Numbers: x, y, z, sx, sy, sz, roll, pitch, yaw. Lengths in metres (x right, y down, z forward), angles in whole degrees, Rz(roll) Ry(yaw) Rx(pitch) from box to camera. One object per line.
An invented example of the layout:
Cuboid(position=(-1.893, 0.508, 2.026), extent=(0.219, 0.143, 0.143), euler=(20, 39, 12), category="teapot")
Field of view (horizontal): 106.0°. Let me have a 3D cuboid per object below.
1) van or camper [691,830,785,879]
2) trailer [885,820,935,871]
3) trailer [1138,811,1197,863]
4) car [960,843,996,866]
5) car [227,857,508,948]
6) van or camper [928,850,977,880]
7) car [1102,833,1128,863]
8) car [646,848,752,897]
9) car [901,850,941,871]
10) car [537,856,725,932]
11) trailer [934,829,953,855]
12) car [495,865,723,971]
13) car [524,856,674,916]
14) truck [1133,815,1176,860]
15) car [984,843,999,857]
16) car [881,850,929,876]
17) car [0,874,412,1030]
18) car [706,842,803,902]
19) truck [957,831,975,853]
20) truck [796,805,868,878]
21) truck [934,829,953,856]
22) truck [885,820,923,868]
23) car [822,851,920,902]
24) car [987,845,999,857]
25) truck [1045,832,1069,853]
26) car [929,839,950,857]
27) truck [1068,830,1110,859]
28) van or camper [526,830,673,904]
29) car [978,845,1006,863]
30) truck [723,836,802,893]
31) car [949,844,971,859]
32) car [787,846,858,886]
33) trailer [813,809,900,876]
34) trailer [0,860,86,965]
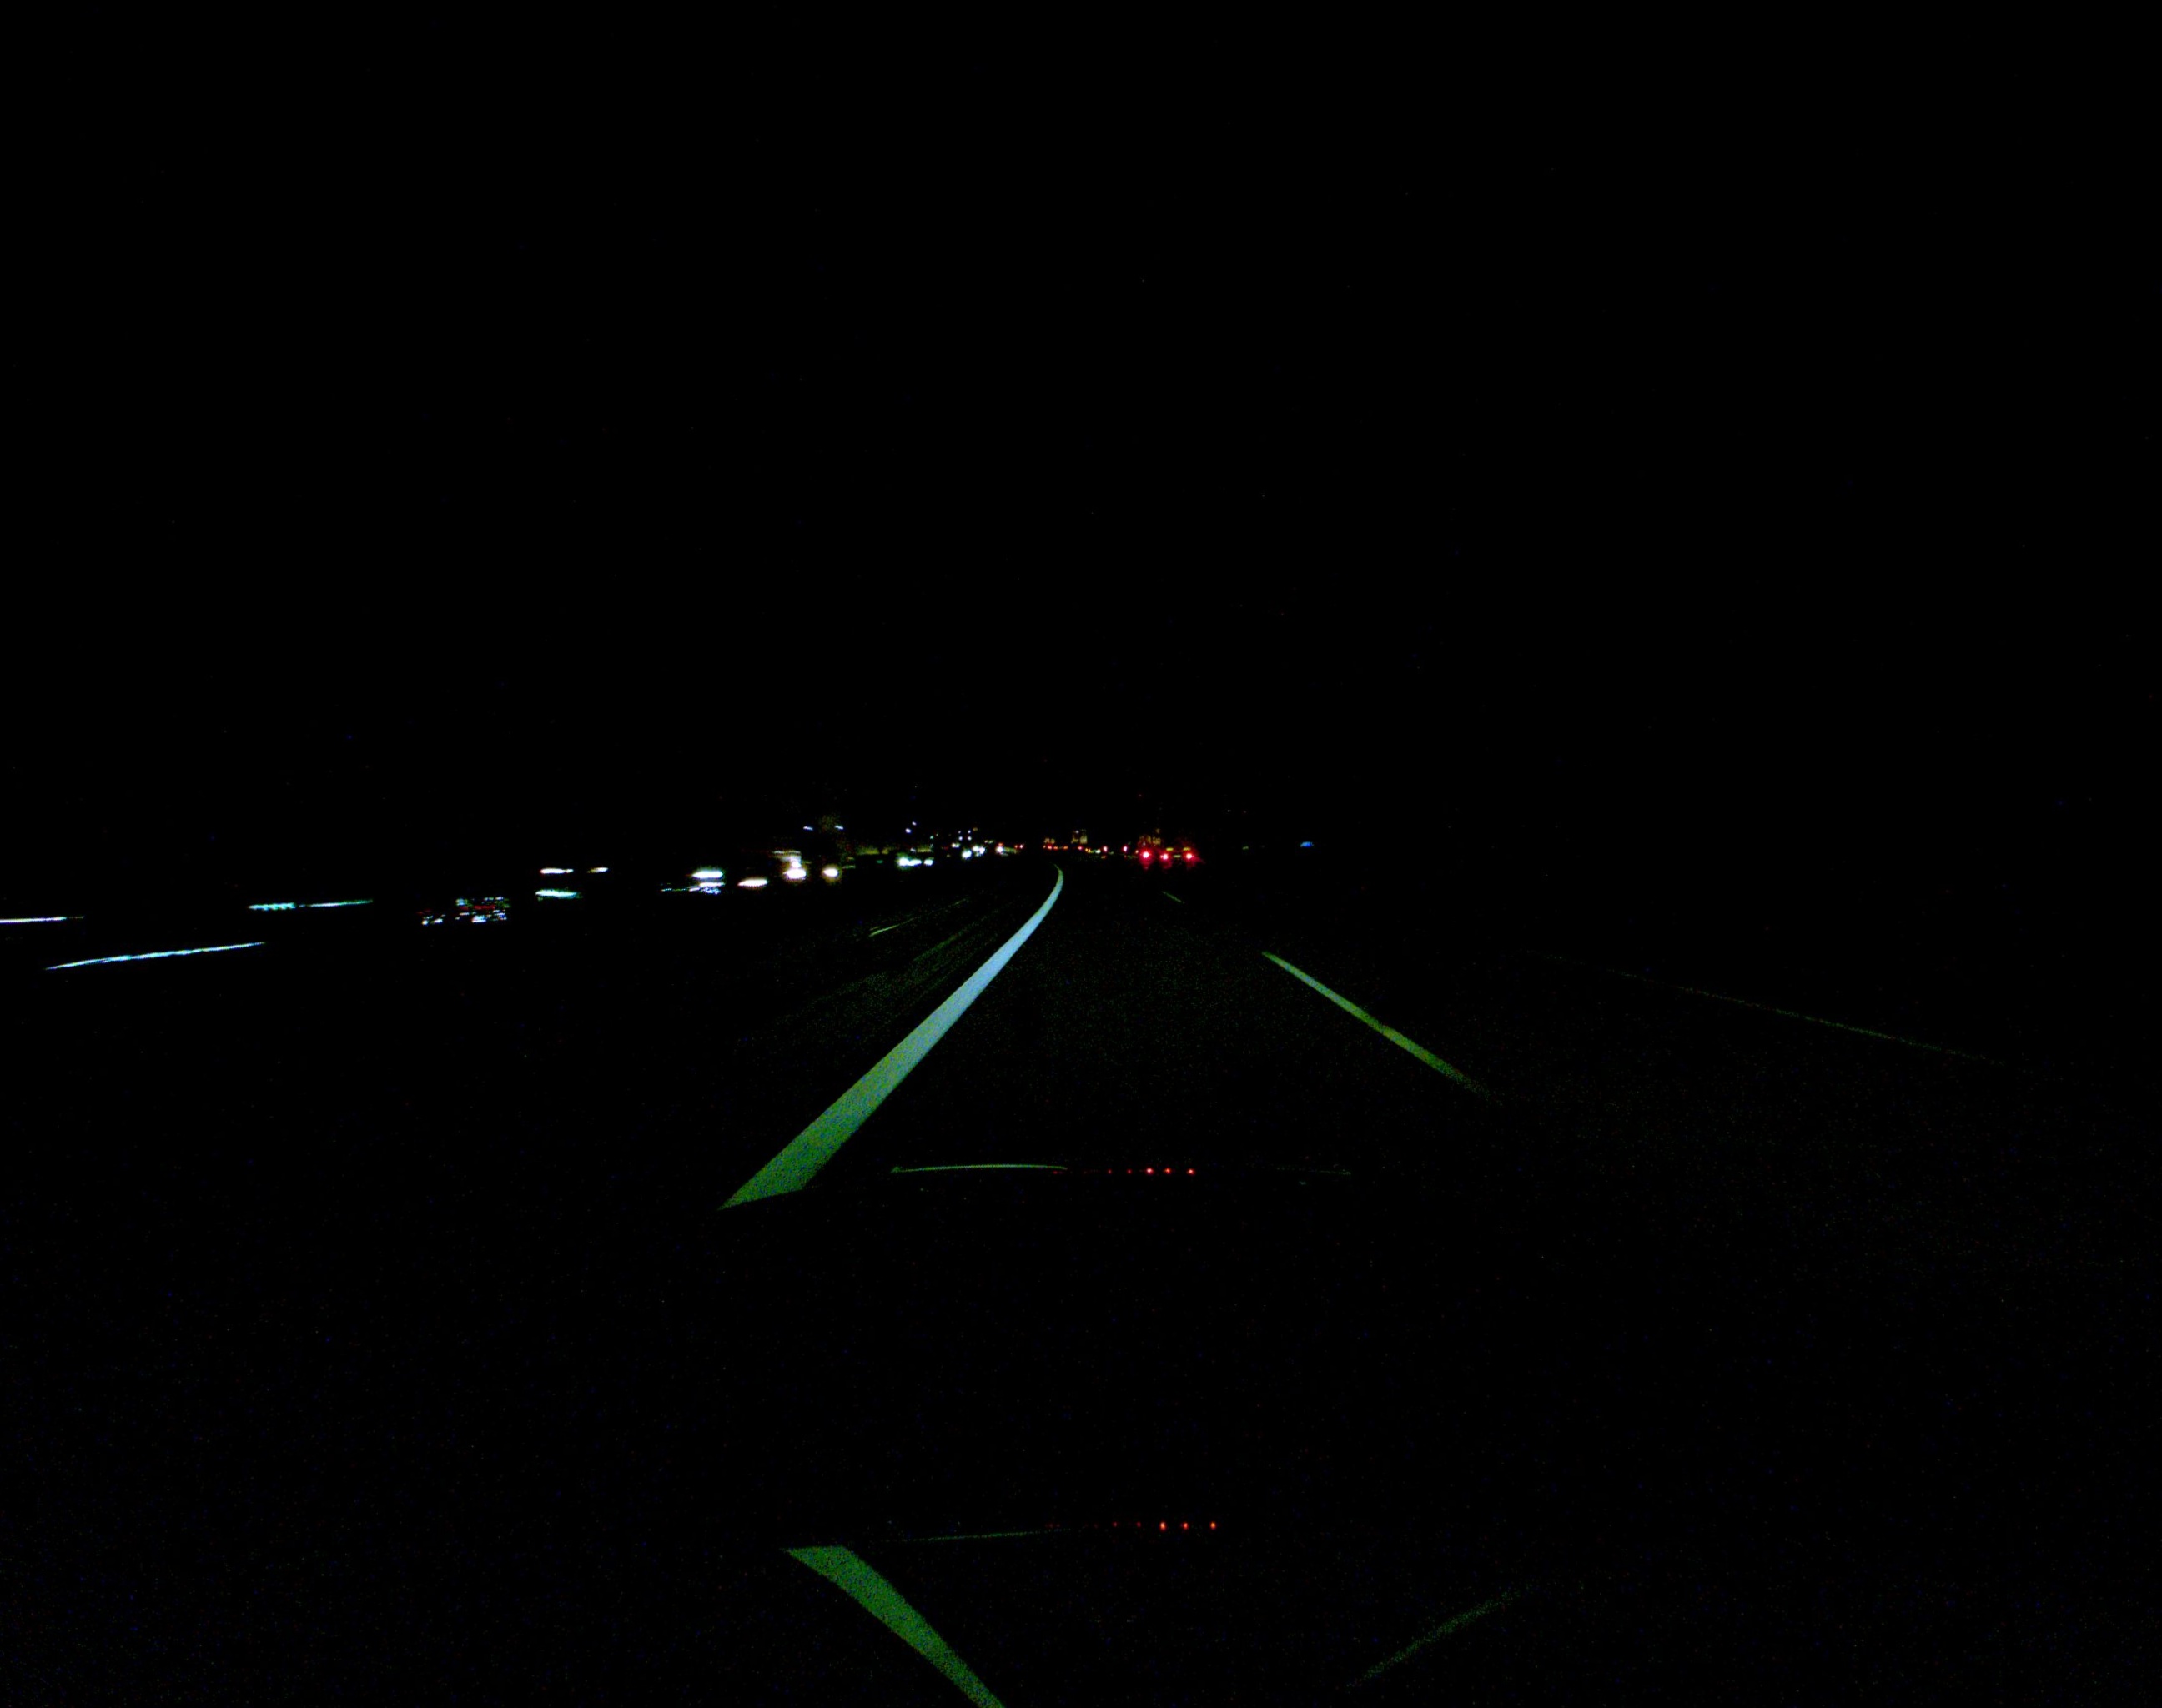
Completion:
Cuboid(position=(-19.601, -0.019, 47.057), extent=(2.576, 2.592, 7.107), euler=(-1, 1, -2), category="van or camper")
Cuboid(position=(-17.127, -0.808, 82.663), extent=(2.836, 4.463, 14.497), euler=(-7, 1, -5), category="trailer")
Cuboid(position=(7.324, -1.464, 71.392), extent=(2.849, 4.067, 13.186), euler=(-1, 1, -4), category="trailer")
Cuboid(position=(-7.284, 0.030, 57.958), extent=(1.898, 1.492, 4.866), euler=(-1, 0, 0), category="car")
Cuboid(position=(-14.935, 0.944, 17.530), extent=(1.921, 1.654, 4.734), euler=(-1, -1, -1), category="car")
Cuboid(position=(-6.662, 0.551, 42.587), extent=(1.733, 1.465, 4.868), euler=(-1, 0, 1), category="van or camper")
Cuboid(position=(3.087, -0.503, 75.041), extent=(2.329, 2.640, 5.248), euler=(1, -1, 1), category="car")
Cuboid(position=(-14.632, 0.640, 31.562), extent=(1.881, 1.676, 5.074), euler=(-1, 0, -3), category="car")
Cuboid(position=(-11.600, 0.448, 59.505), extent=(1.897, 1.492, 4.868), euler=(-1, 0, 1), category="car")
Cuboid(position=(-10.664, 0.859, 19.804), extent=(1.700, 1.530, 4.859), euler=(-1, 0, 2), category="car")
Cuboid(position=(-21.776, -1.876, 128.799), extent=(2.820, 3.917, 8.710), euler=(-2, 1, -10), category="trailer")
Cuboid(position=(-6.677, 0.831, 11.897), extent=(1.413, 1.256, 3.130), euler=(-1, 0, 2), category="car")
Cuboid(position=(-14.164, 0.875, 24.265), extent=(1.892, 1.387, 4.347), euler=(-3, 1, -2), category="car")
Cuboid(position=(6.890, -1.538, 77.315), extent=(2.857, 4.076, 7.499), euler=(-1, 1, -5), category="truck")
Cuboid(position=(-12.558, -0.555, 114.361), extent=(1.873, 1.923, 4.858), euler=(-1, 0, -5), category="car")
Cuboid(position=(-11.078, 0.536, 51.491), extent=(1.897, 1.492, 4.937), euler=(-1, 0, 1), category="car")
Cuboid(position=(-10.683, 1.054, 10.089), extent=(1.691, 1.463, 3.487), euler=(-1, 0, 5), category="car")
Cuboid(position=(-11.043, 0.602, 27.842), extent=(1.672, 1.851, 4.108), euler=(2, -1, -2), category="car")
Cuboid(position=(-22.680, -2.383, 161.335), extent=(3.105, 4.097, 7.059), euler=(2, -1, -7), category="truck")
Cuboid(position=(-15.307, -0.749, 50.569), extent=(2.859, 4.210, 6.098), euler=(-1, 0, -4), category="truck")
Cuboid(position=(-21.071, -1.806, 124.742), extent=(2.828, 3.916, 4.918), euler=(-2, 1, -10), category="truck")
Cuboid(position=(-16.510, -0.918, 76.162), extent=(2.611, 4.269, 5.948), euler=(-1, 0, -5), category="truck")
Cuboid(position=(-6.807, 0.668, 26.937), extent=(1.897, 1.492, 4.868), euler=(-1, 0, 1), category="car")
Cuboid(position=(-13.827, -0.486, 127.577), extent=(1.874, 1.923, 5.591), euler=(-1, 0, -6), category="car")
Cuboid(position=(-5.372, -2.515, 179.076), extent=(3.343, 4.475, 13.866), euler=(2, 0, -9), category="truck")
Cuboid(position=(-18.290, -0.754, 105.186), extent=(1.898, 1.887, 5.016), euler=(2, -3, -2), category="car")
Cuboid(position=(1.143, -1.497, 139.212), extent=(3.913, 4.627, 20.955), euler=(-1, 0, -8), category="truck")
Cuboid(position=(-18.973, 0.426, 32.616), extent=(1.988, 2.656, 6.614), euler=(-1, 1, -1), category="van or camper")
Cuboid(position=(-7.810, 0.011, 71.688), extent=(1.897, 1.492, 4.868), euler=(-1, 0, 1), category="car")
Cuboid(position=(-14.904, 0.454, 38.437), extent=(1.990, 2.458, 5.043), euler=(-1, 0, -4), category="truck")
Cuboid(position=(-12.751, -0.237, 86.322), extent=(1.900, 1.492, 4.861), euler=(-1, 0, -4), category="car")
Cuboid(position=(-11.183, 0.529, 35.538), extent=(1.894, 1.523, 4.342), euler=(-3, -1, -4), category="car")
Cuboid(position=(-15.703, -0.837, 58.487), extent=(2.869, 4.183, 14.508), euler=(-1, 1, -3), category="trailer")
Cuboid(position=(-18.940, 1.003, 11.250), extent=(2.249, 1.726, 6.545), euler=(-1, 0, 1), category="trailer")
